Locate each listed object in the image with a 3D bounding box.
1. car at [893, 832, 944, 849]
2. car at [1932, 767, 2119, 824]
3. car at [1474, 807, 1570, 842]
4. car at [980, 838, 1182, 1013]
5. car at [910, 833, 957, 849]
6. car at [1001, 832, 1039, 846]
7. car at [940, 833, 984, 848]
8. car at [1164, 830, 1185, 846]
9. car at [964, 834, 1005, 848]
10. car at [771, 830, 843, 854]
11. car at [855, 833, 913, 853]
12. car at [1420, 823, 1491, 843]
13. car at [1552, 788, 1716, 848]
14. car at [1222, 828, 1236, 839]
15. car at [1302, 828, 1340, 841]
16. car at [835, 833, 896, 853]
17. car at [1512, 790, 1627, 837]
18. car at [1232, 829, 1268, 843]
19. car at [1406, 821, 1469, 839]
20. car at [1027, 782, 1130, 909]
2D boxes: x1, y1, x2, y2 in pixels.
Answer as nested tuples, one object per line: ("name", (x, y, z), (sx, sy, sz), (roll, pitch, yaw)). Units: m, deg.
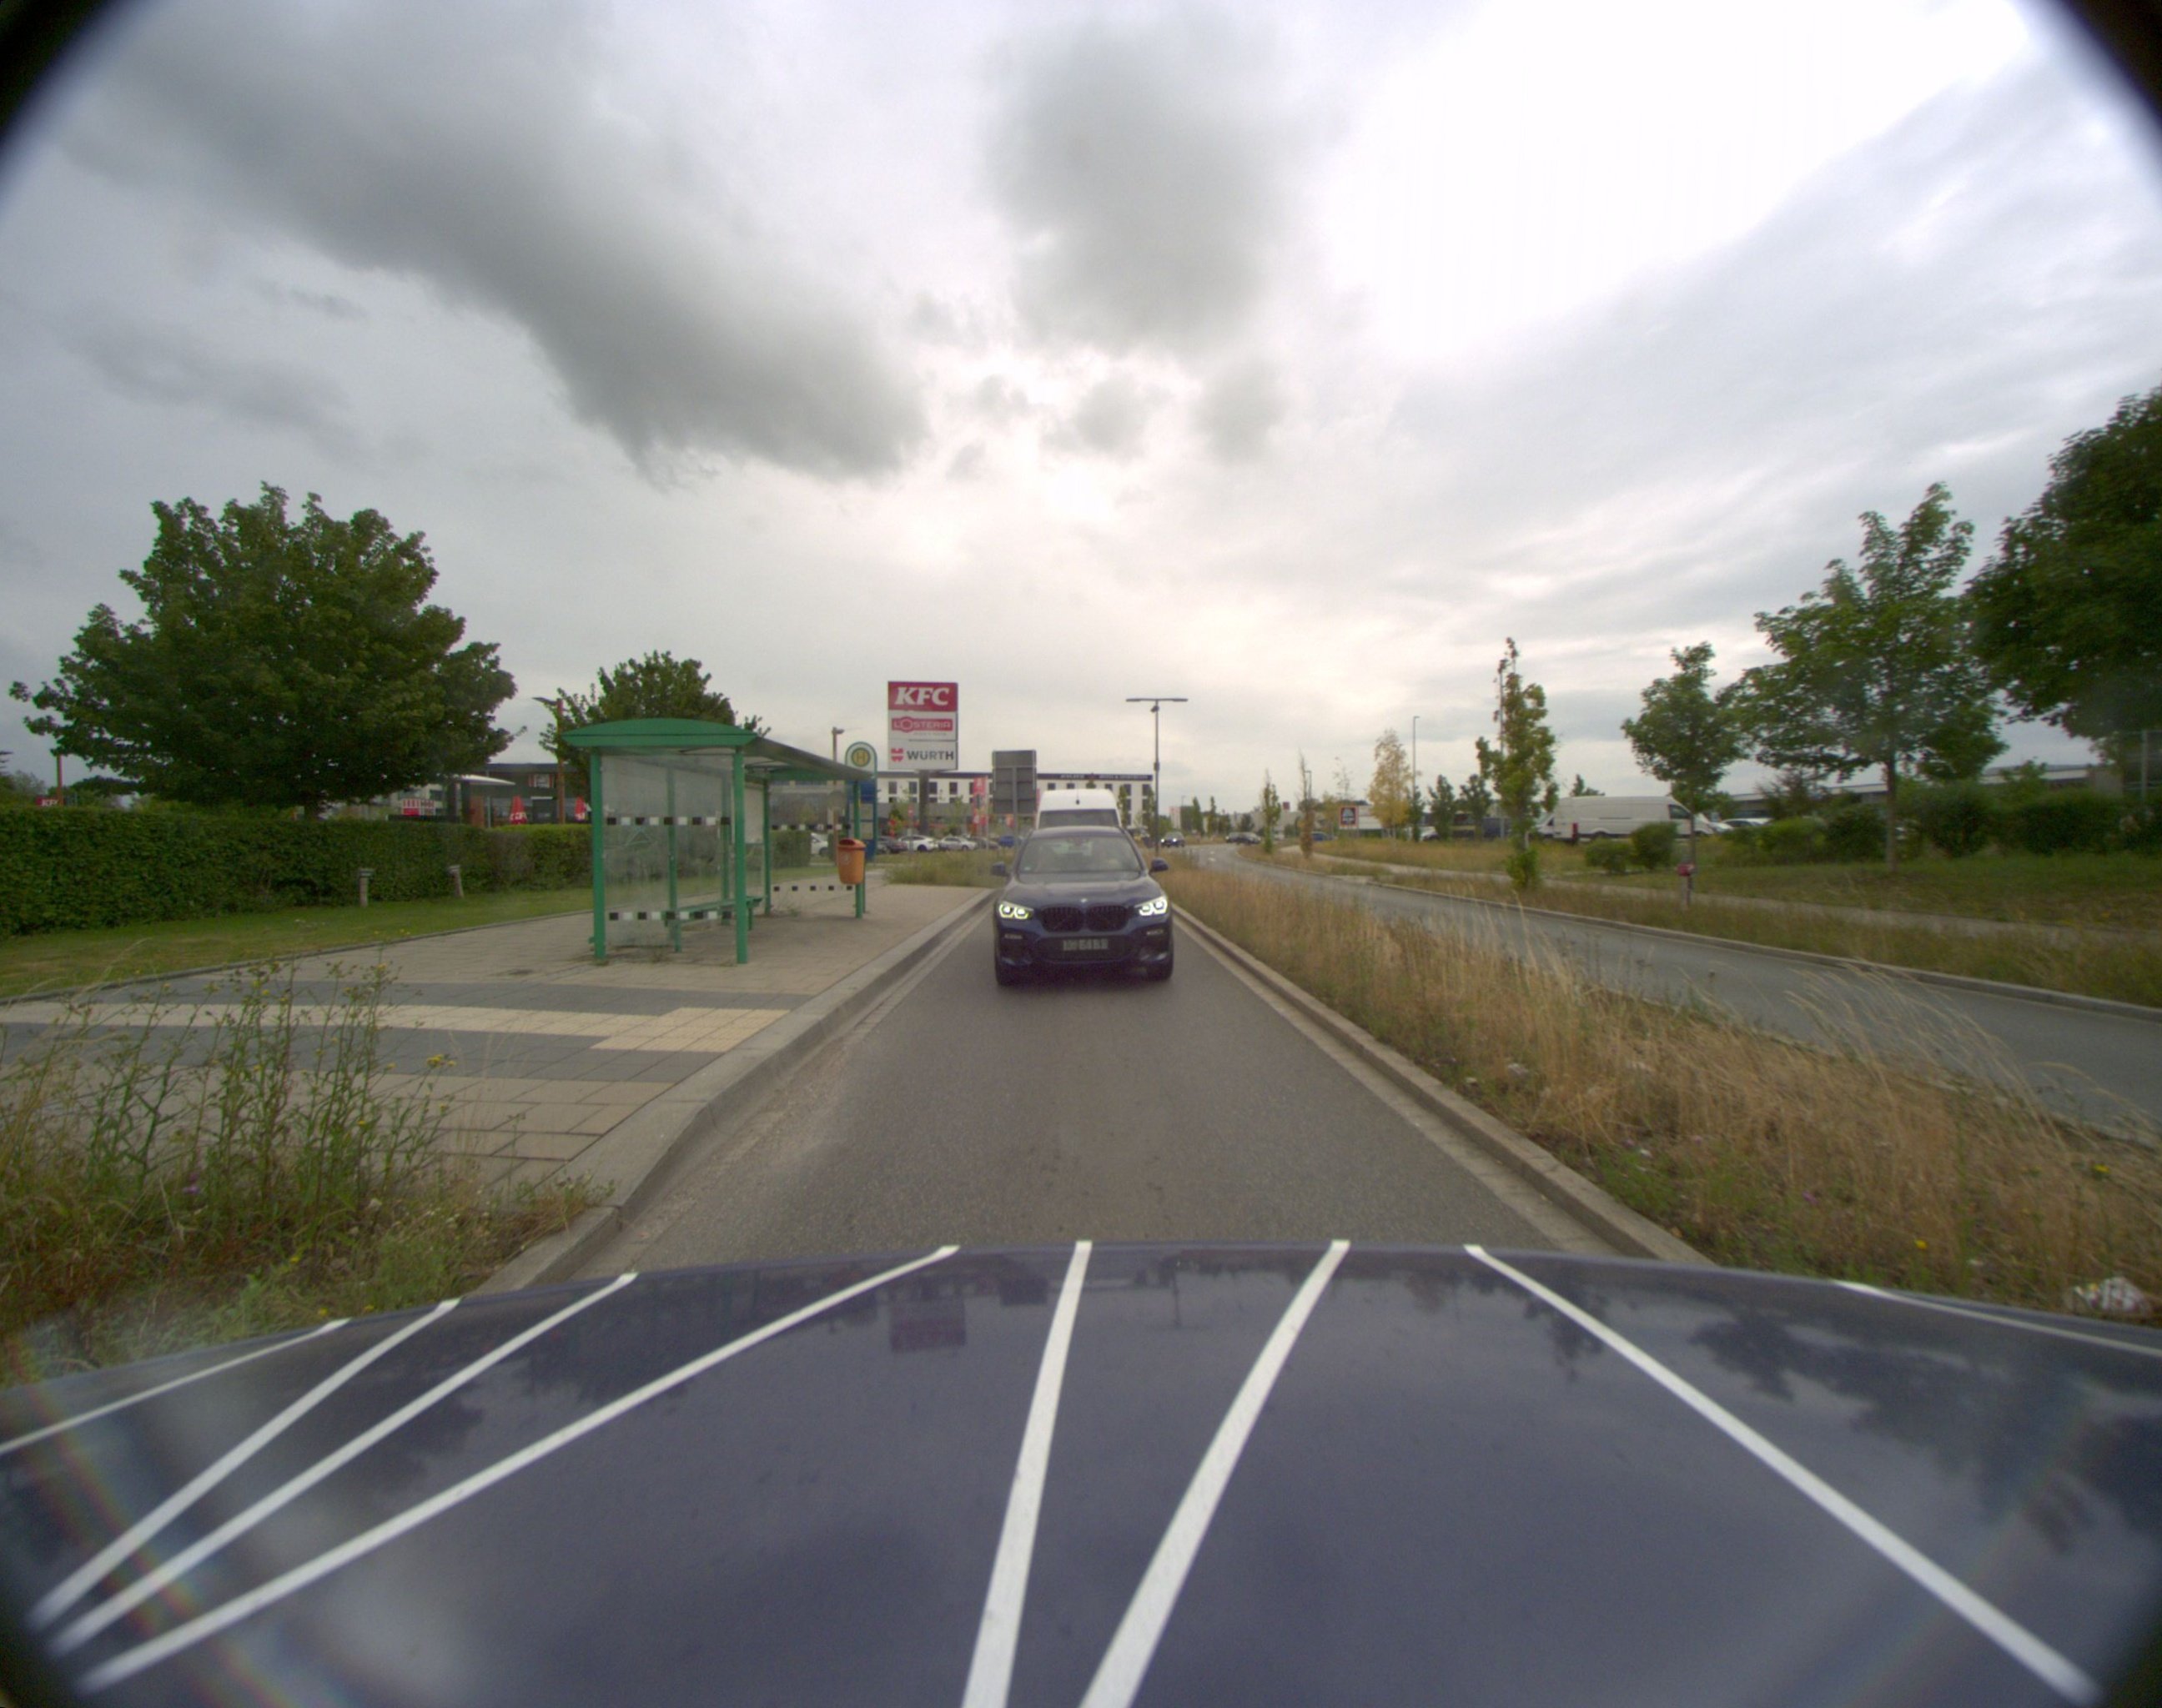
("car", (-14.261, -1.186, 66.880), (3.994, 1.514, 1.848), (0, 2, 8))
("car", (42.824, -2.573, 34.692), (2.064, 2.360, 5.053), (-2, 2, -4))
("car", (28.925, -1.937, 49.946), (5.050, 2.211, 2.065), (0, 2, 7))
("car", (-0.024, 0.624, 9.058), (1.867, 1.599, 3.998), (0, 2, -1))
("car", (-13.999, -1.202, 72.137), (3.994, 1.478, 1.848), (0, 2, 8))
("car", (-7.270, -1.779, 90.475), (3.992, 1.478, 1.849), (-1, 3, 17))
("car", (-11.977, -1.332, 76.634), (3.993, 1.478, 1.848), (0, 2, 12))
("car", (10.117, -1.760, 82.083), (1.997, 1.565, 4.001), (-2, 2, 11))
("car", (-10.283, -1.399, 81.214), (3.993, 1.478, 1.848), (0, 2, 12))
("car", (-17.930, -0.789, 49.841), (3.997, 1.519, 1.847), (0, 2, 1))
("car", (-15.554, -0.878, 60.035), (3.994, 1.478, 1.848), (0, 2, 8))
("car", (32.007, -1.768, 65.075), (5.049, 1.647, 2.066), (0, 2, 10))
("car", (27.012, -1.761, 37.300), (6.413, 2.610, 2.064), (-2, 3, 4))
("car", (22.321, -3.119, 114.712), (1.997, 1.565, 4.001), (-2, 2, 11))
("car", (27.998, -2.247, 88.695), (3.993, 1.504, 1.736), (0, 2, 12))
("car", (-16.254, -0.852, 57.386), (3.994, 1.478, 1.848), (0, 2, 8))
("car", (27.103, -2.260, 42.296), (5.053, 2.360, 2.064), (-2, 3, 0))
("car", (20.760, -2.184, 93.283), (3.989, 1.565, 2.003), (-1, 3, 27))
("car", (33.869, -2.300, 72.374), (5.049, 1.647, 2.066), (0, 2, 10))
("car", (-0.092, -0.250, 18.196), (2.026, 2.513, 6.102), (0, 2, -1))
